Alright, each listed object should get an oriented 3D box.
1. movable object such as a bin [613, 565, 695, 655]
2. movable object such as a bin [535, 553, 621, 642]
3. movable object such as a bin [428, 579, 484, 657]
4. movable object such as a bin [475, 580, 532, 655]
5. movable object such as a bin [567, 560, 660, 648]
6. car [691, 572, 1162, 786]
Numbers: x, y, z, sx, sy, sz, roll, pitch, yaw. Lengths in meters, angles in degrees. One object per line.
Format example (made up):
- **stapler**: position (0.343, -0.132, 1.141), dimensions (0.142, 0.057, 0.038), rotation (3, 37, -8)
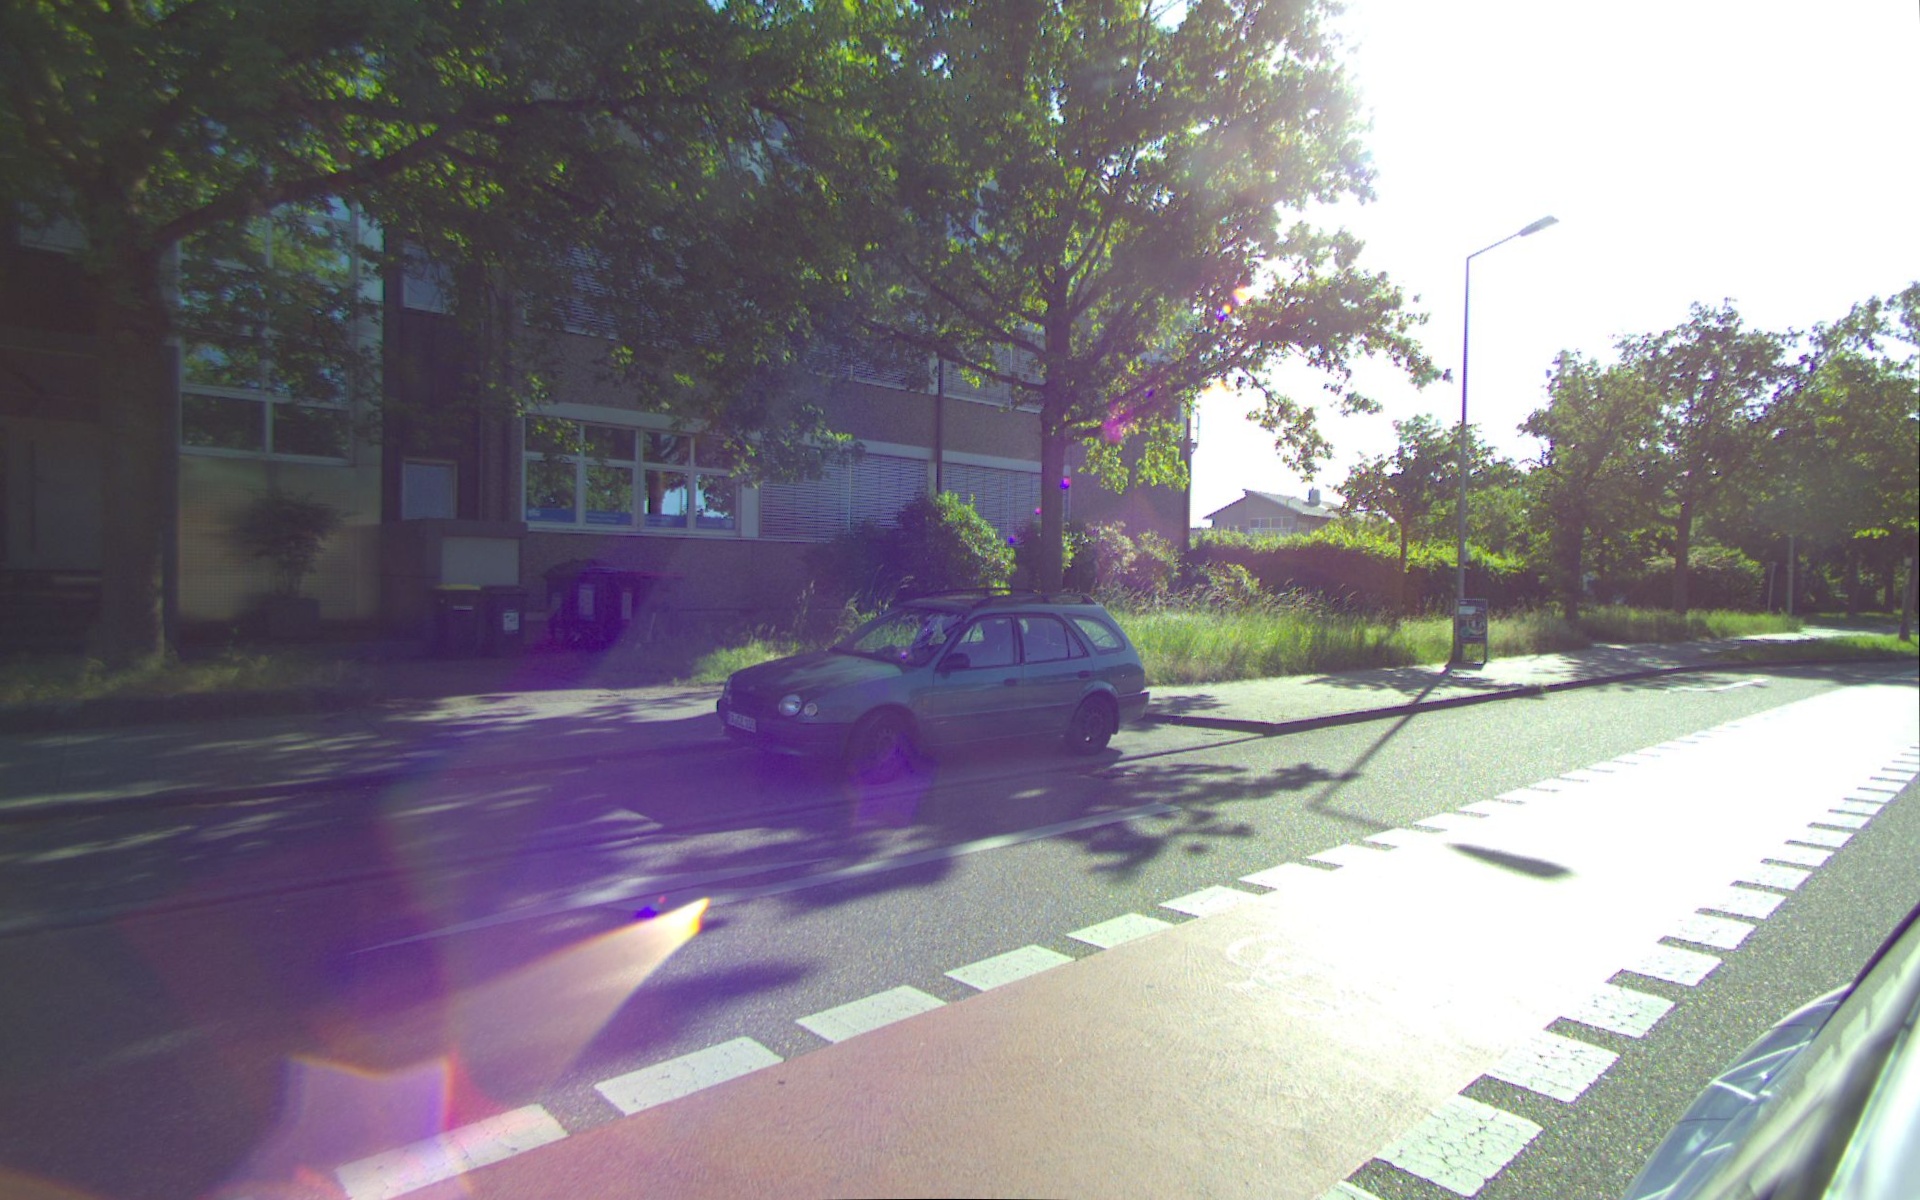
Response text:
- **movable object such as a bin**: position (-4.779, 0.125, 15.767), dimensions (0.878, 1.323, 1.186), rotation (0, 2, -37)
- **movable object such as a bin**: position (-6.778, -0.073, 17.935), dimensions (1.024, 1.501, 1.309), rotation (0, 2, -41)
- **movable object such as a bin**: position (-7.212, 0.246, 14.491), dimensions (0.575, 1.070, 0.625), rotation (0, 1, -42)
- **movable object such as a bin**: position (-6.757, 0.240, 14.972), dimensions (0.604, 1.075, 0.634), rotation (0, 1, -42)
- **movable object such as a bin**: position (-5.769, 0.043, 16.855), dimensions (1.070, 1.388, 1.186), rotation (0, 2, -43)
- **car**: position (-0.143, 0.572, 9.126), dimensions (4.068, 1.487, 1.705), rotation (1, 1, -41)
